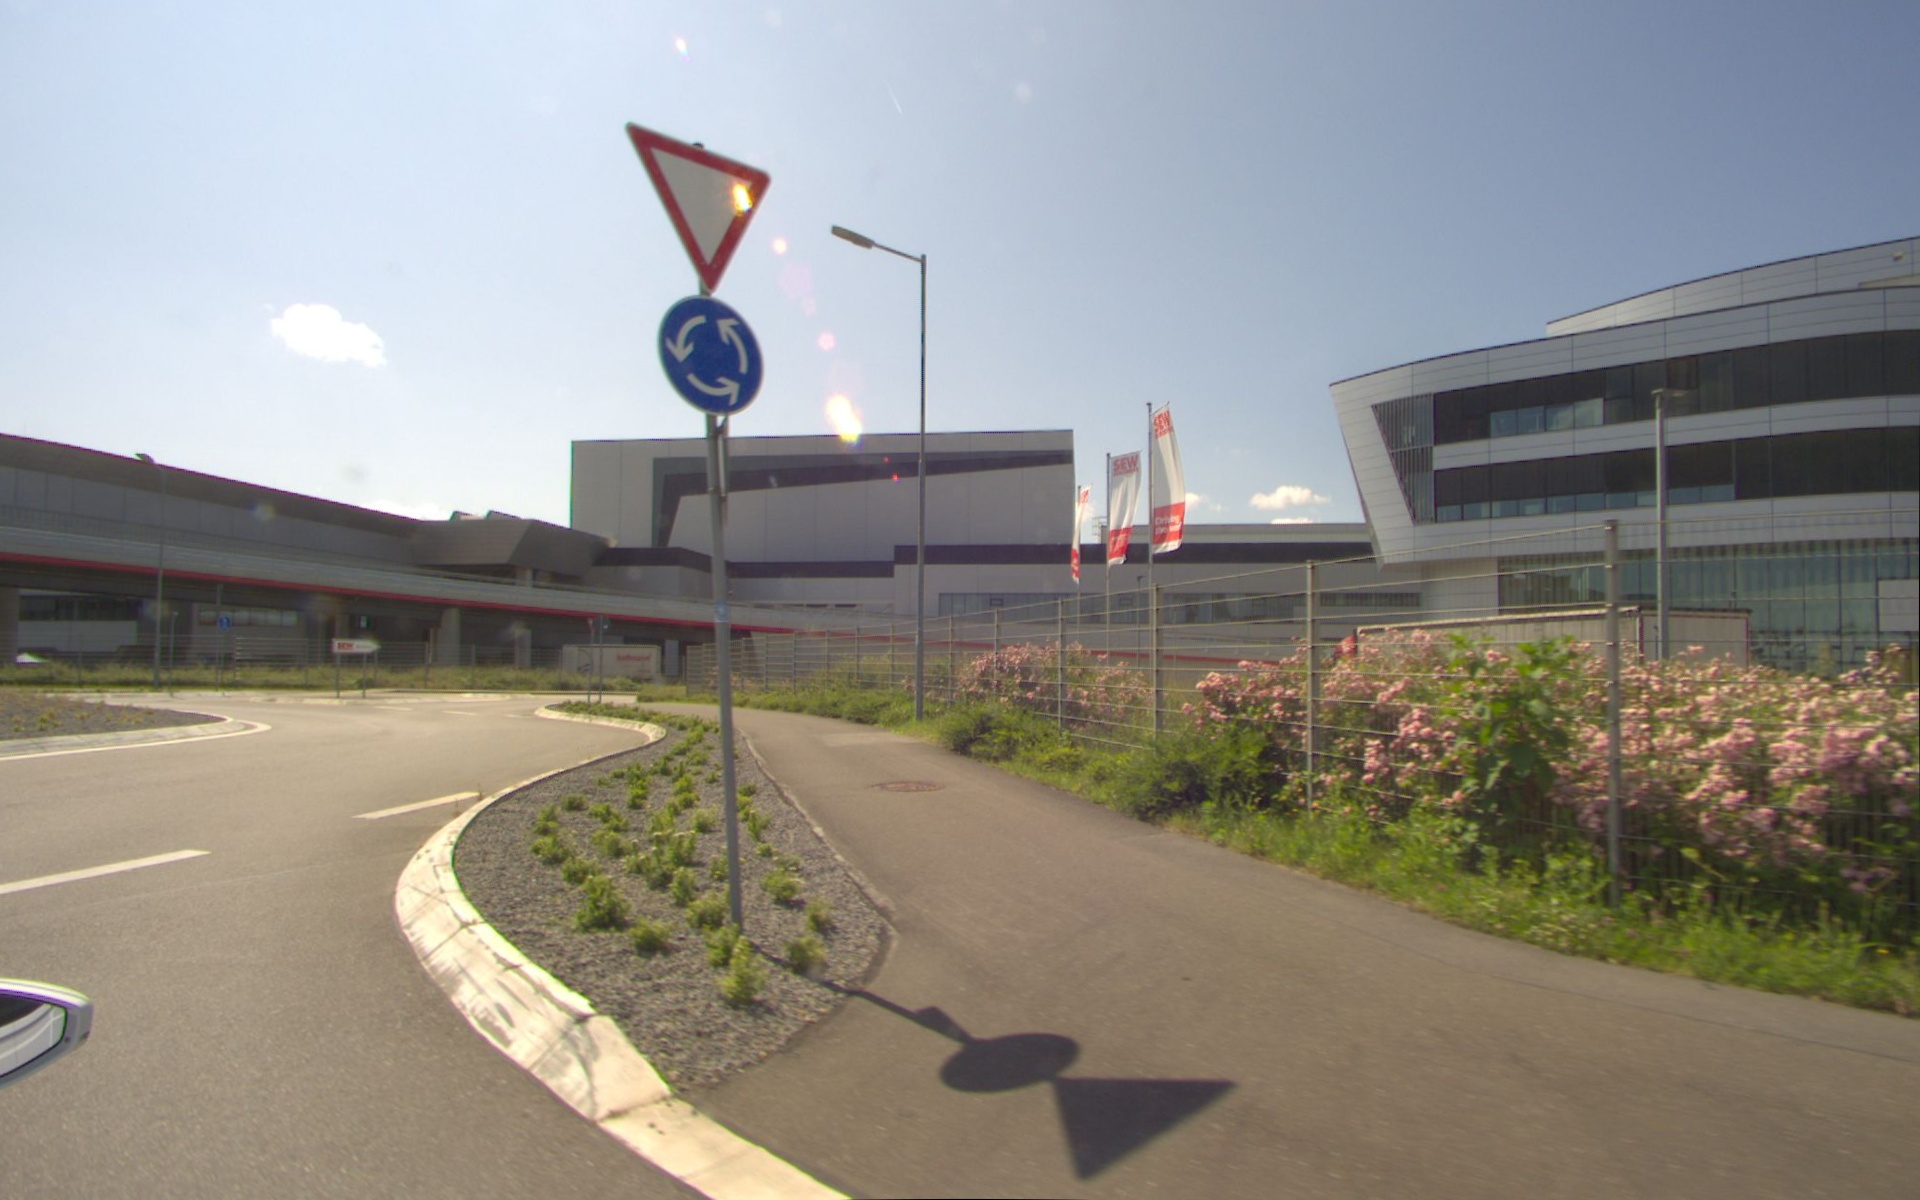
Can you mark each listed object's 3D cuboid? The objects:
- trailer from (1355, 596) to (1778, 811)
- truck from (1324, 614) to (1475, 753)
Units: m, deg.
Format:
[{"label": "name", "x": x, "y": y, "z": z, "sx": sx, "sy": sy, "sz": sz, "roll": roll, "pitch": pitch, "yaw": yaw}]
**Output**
[{"label": "trailer", "x": 15.604, "y": 2.512, "z": 28.205, "sx": 2.712, "sy": 4.493, "sz": 14.072, "roll": 0, "pitch": -3, "yaw": -3}, {"label": "truck", "x": 15.279, "y": 2.844, "z": 35.240, "sx": 2.712, "sy": 4.478, "sz": 5.294, "roll": 0, "pitch": -2, "yaw": -3}]
